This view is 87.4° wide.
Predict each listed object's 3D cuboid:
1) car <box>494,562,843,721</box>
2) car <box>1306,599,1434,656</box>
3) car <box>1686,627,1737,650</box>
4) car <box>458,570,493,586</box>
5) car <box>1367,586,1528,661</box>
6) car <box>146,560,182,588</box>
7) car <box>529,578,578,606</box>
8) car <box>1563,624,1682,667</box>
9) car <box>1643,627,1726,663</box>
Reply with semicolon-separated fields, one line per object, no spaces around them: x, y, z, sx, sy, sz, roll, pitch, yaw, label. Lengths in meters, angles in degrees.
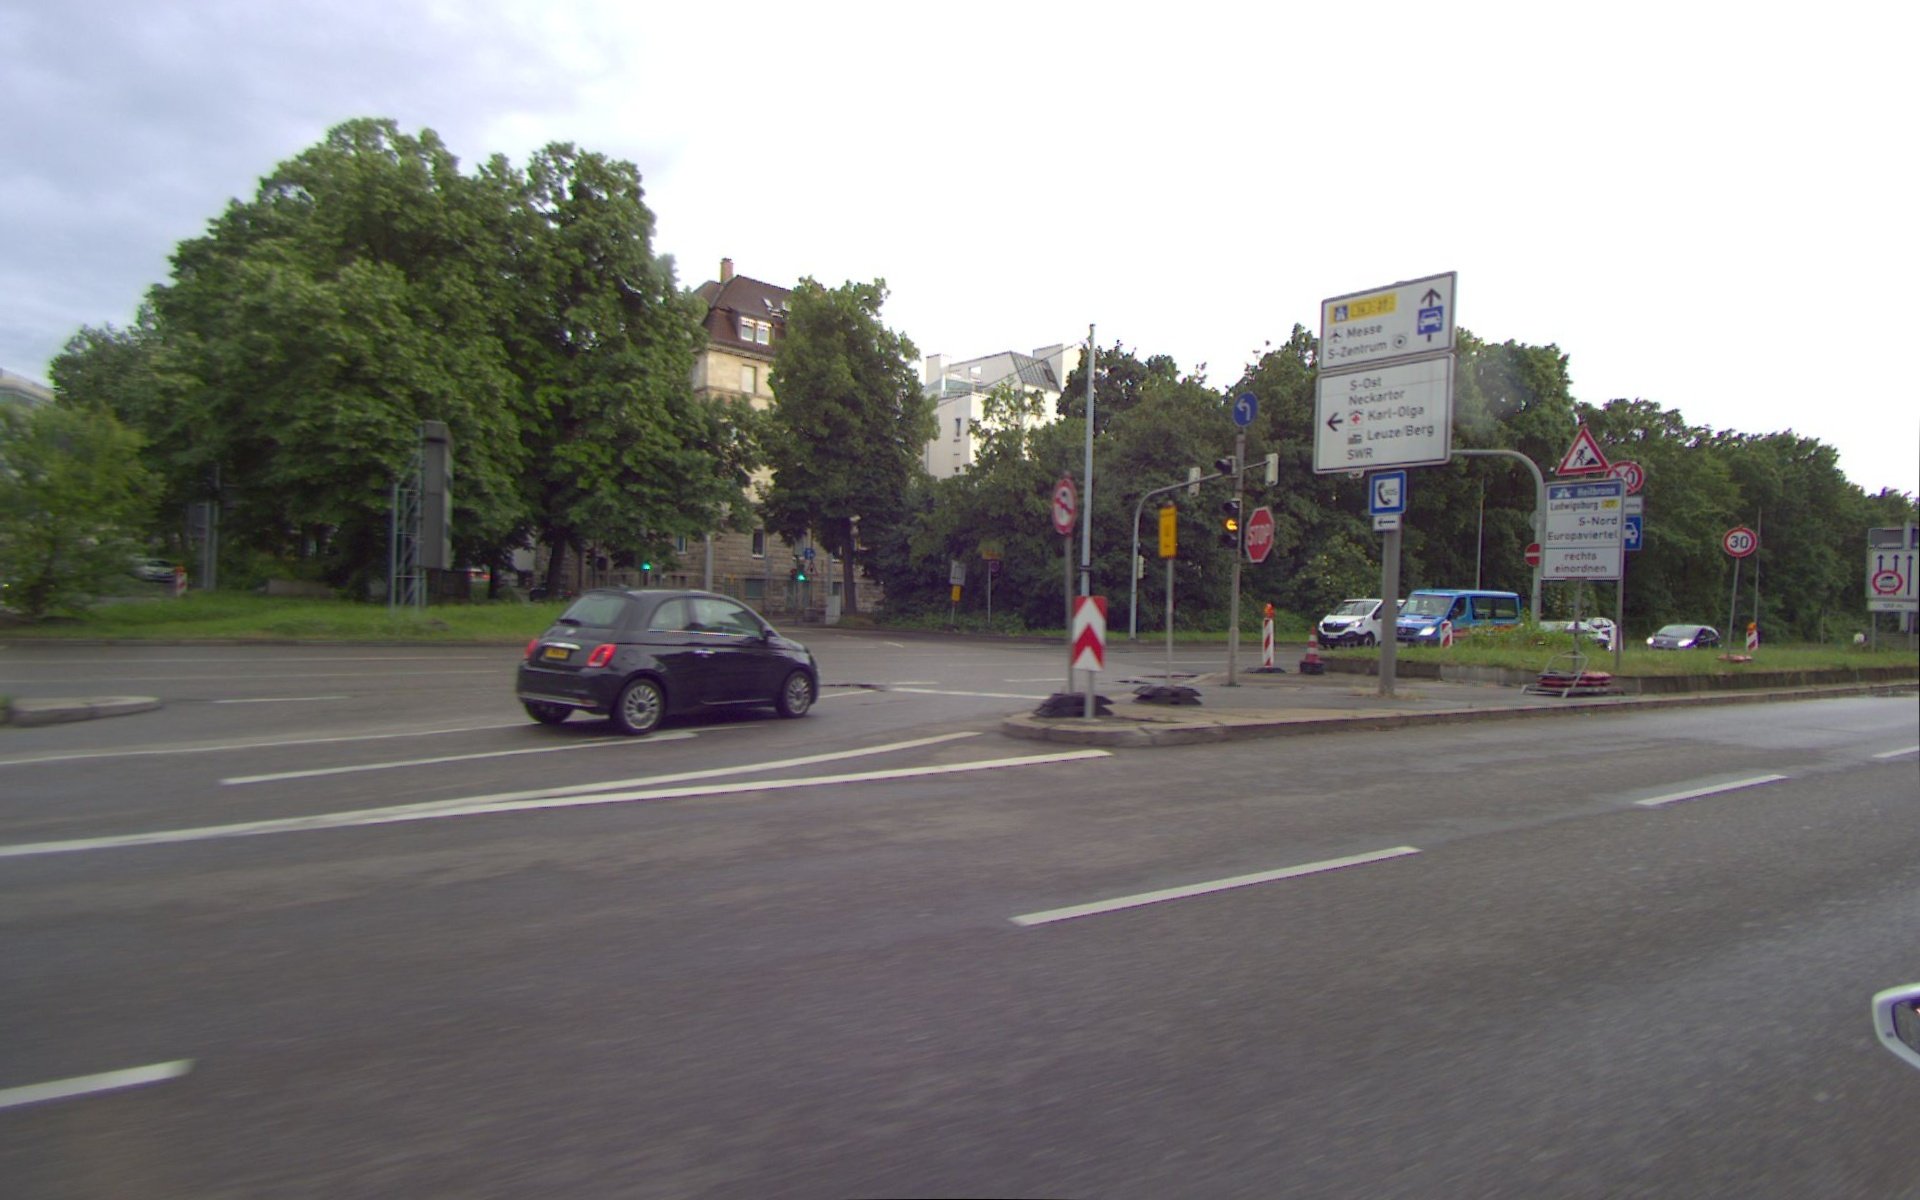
-3.063;0.434;11.162;1.565;1.460;3.494;2;-1;34;car
15.561;1.023;38.039;4.937;2.001;2.022;1;1;-33;car
39.604;2.035;52.910;2.763;1.100;1.262;1;1;-33;car
-38.479;-1.783;79.732;1.580;1.179;3.459;3;-1;-43;car
17.103;0.813;35.082;6.177;2.422;2.182;1;1;-33;car
-52.569;-1.744;66.323;1.795;1.648;3.953;2;2;-40;car
-26.823;-0.519;66.166;1.865;1.680;3.459;3;-1;-43;car
21.197;1.470;32.080;4.598;1.216;1.539;3;0;-34;car
27.234;1.684;37.745;3.265;1.216;1.421;3;0;-33;car
